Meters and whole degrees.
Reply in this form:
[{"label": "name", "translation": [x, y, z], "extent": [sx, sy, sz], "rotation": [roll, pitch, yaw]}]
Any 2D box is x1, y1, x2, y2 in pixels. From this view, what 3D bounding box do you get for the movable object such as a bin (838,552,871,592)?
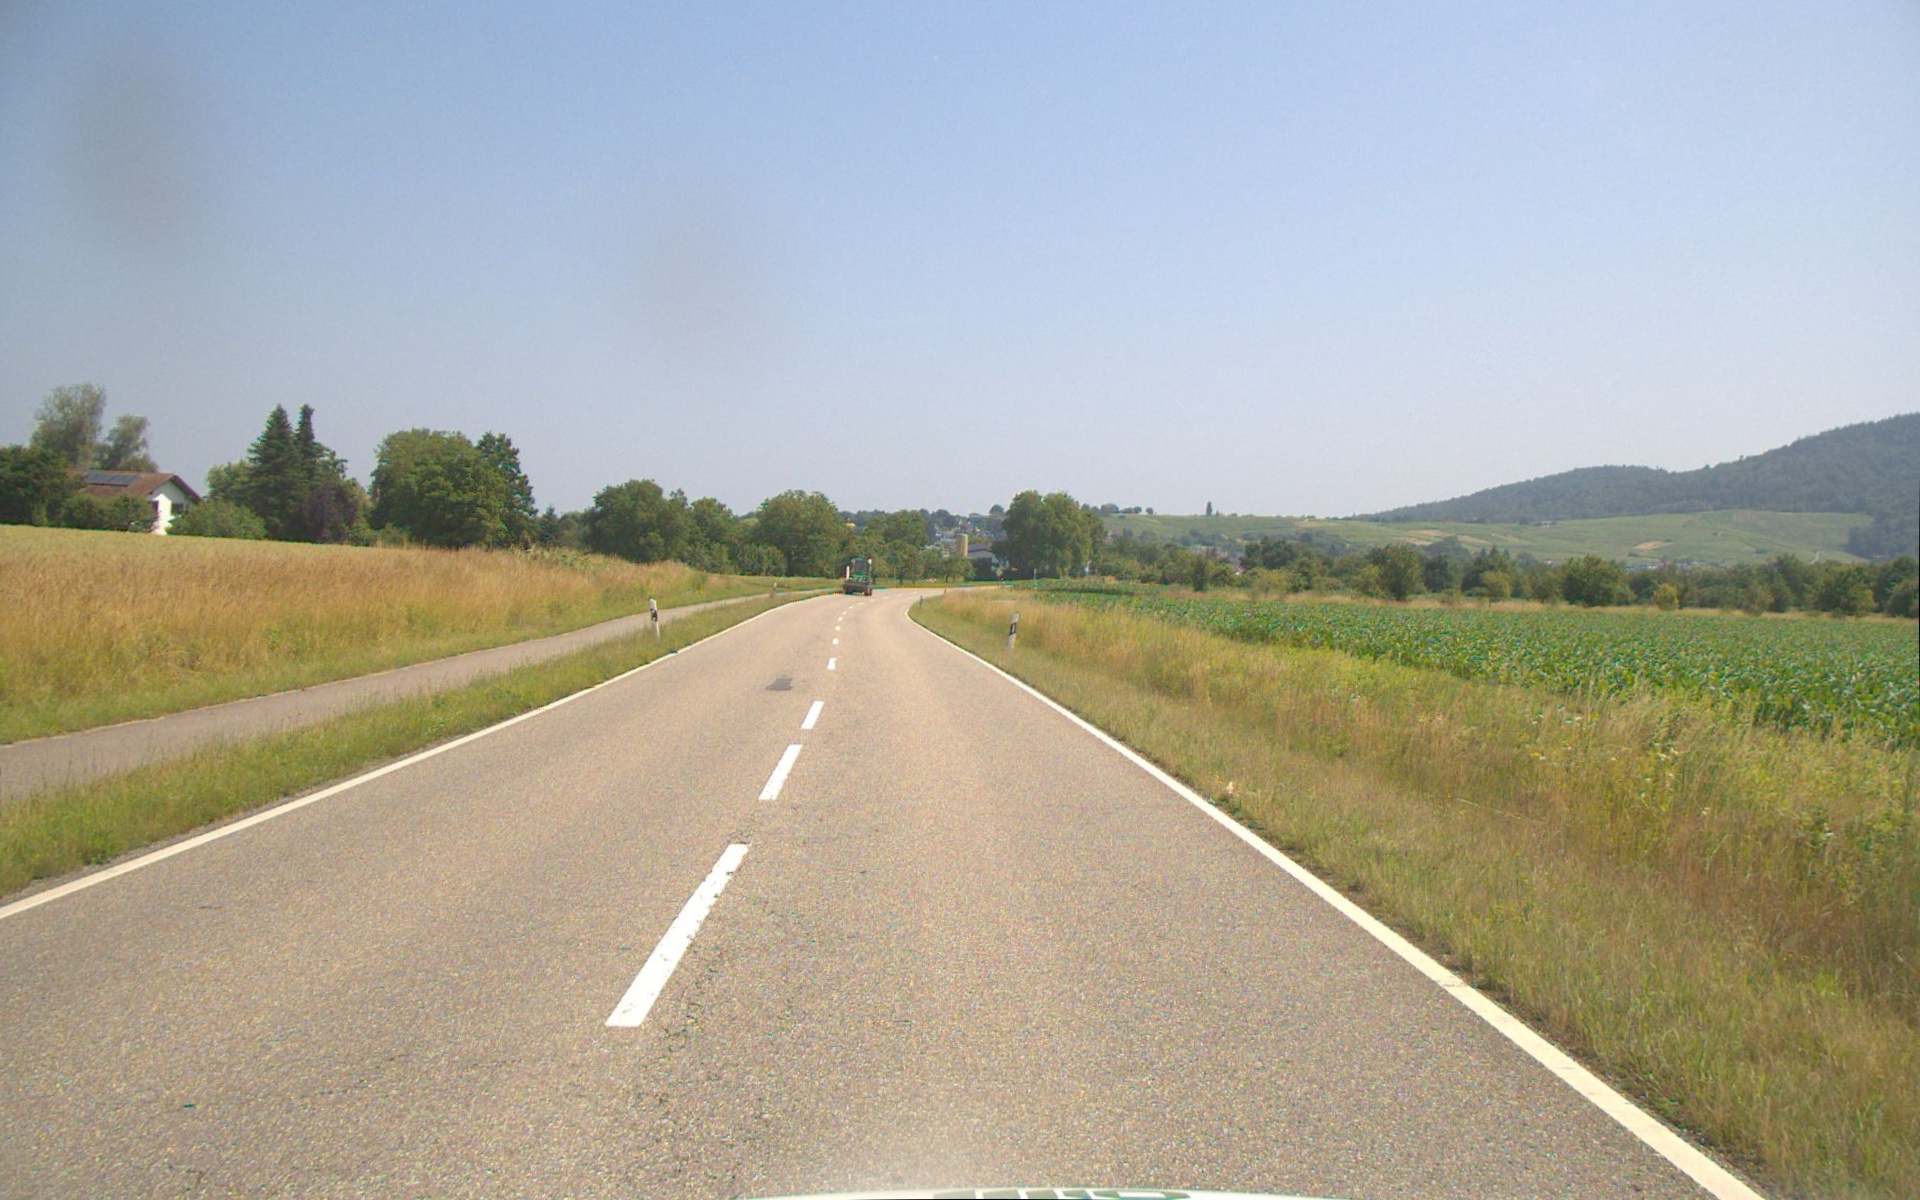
[{"label": "movable object such as a bin", "translation": [-8.055, -2.168, 126.431], "extent": [1.960, 2.802, 5.230], "rotation": [5, 1, 0]}]
